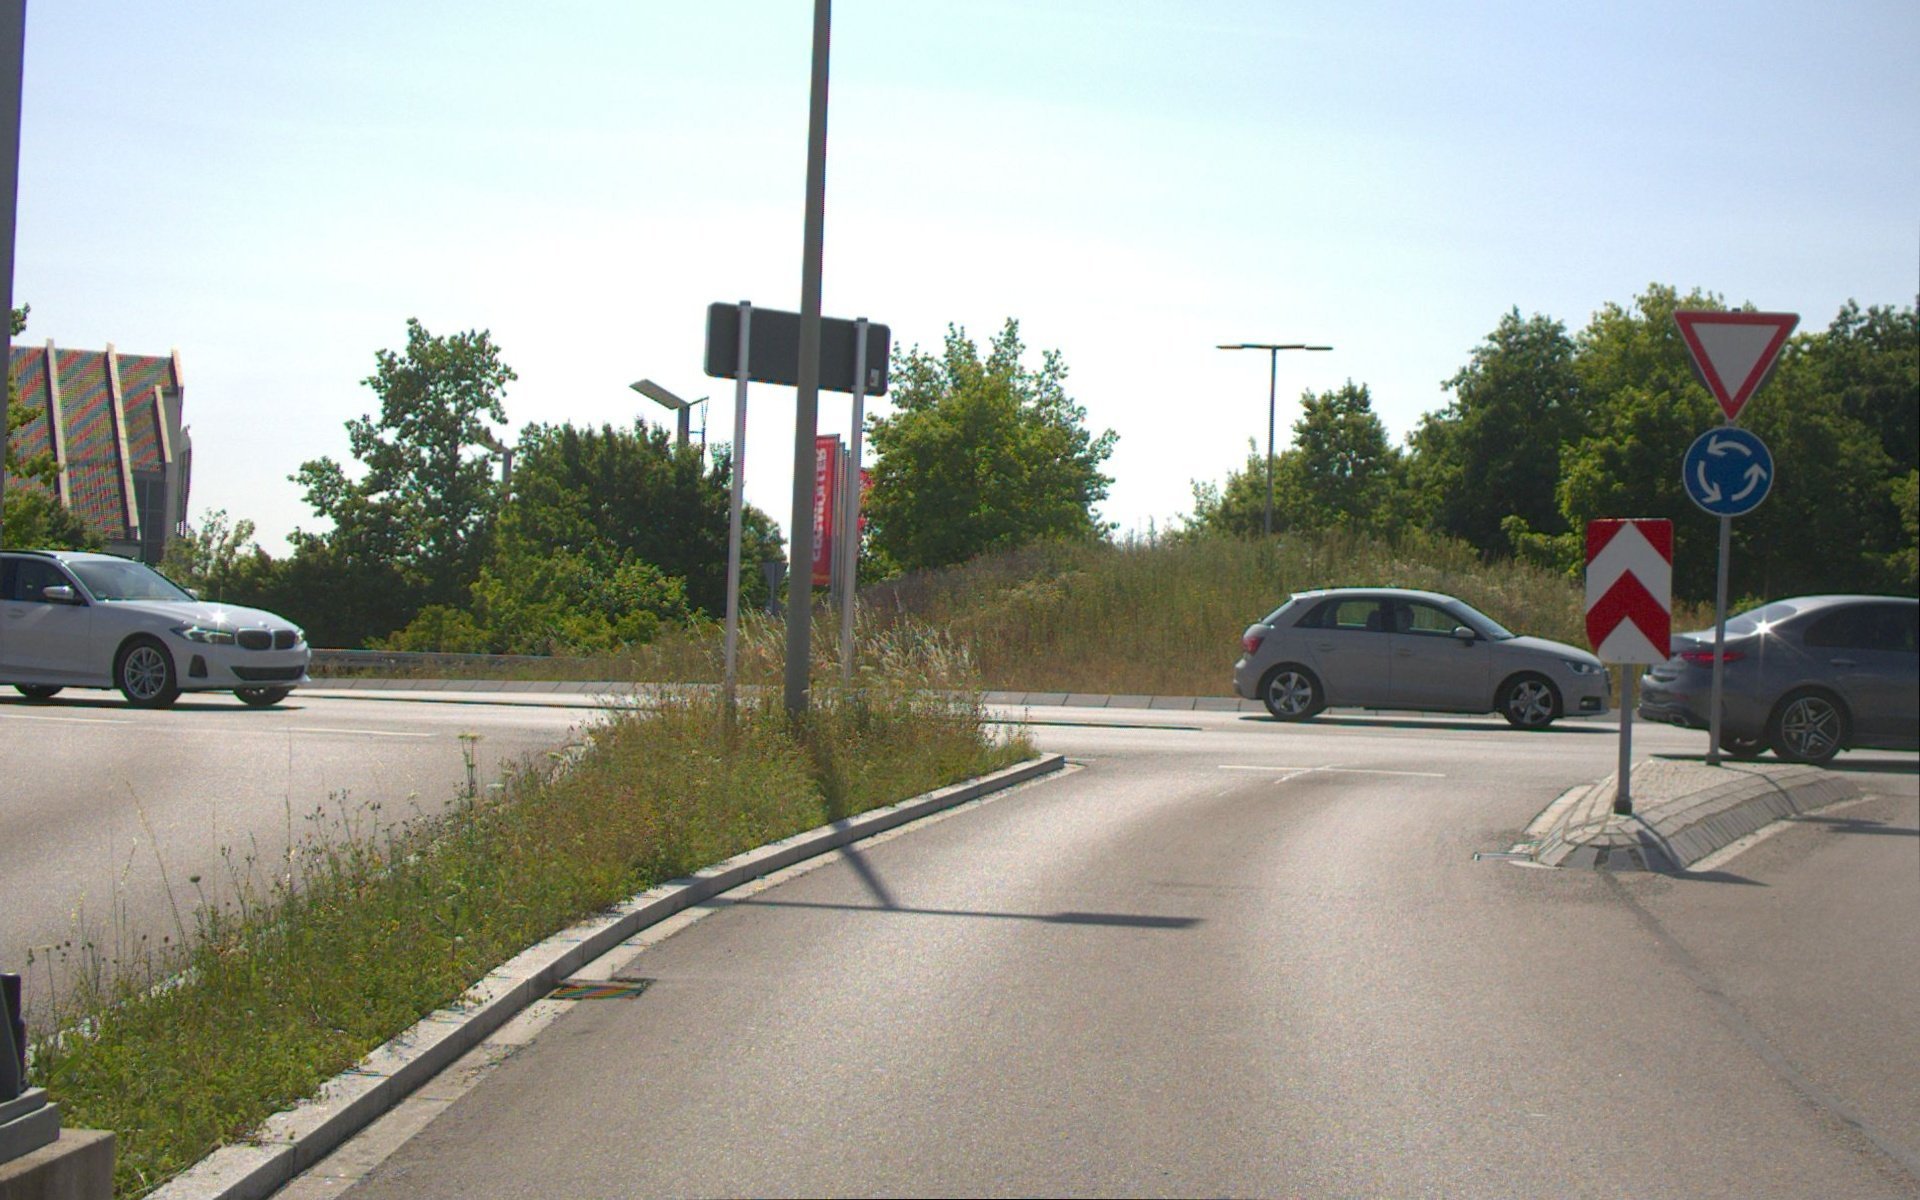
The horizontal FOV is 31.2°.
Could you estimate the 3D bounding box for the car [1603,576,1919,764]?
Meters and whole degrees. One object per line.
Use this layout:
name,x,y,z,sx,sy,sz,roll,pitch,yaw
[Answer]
car,8.192,0.643,29.472,4.856,1.447,2.000,3,0,-5

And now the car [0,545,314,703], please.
car,-8.448,0.183,32.853,4.333,1.347,1.570,3,0,26

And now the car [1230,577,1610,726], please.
car,4.875,0.534,36.329,3.760,1.347,1.530,3,0,15
